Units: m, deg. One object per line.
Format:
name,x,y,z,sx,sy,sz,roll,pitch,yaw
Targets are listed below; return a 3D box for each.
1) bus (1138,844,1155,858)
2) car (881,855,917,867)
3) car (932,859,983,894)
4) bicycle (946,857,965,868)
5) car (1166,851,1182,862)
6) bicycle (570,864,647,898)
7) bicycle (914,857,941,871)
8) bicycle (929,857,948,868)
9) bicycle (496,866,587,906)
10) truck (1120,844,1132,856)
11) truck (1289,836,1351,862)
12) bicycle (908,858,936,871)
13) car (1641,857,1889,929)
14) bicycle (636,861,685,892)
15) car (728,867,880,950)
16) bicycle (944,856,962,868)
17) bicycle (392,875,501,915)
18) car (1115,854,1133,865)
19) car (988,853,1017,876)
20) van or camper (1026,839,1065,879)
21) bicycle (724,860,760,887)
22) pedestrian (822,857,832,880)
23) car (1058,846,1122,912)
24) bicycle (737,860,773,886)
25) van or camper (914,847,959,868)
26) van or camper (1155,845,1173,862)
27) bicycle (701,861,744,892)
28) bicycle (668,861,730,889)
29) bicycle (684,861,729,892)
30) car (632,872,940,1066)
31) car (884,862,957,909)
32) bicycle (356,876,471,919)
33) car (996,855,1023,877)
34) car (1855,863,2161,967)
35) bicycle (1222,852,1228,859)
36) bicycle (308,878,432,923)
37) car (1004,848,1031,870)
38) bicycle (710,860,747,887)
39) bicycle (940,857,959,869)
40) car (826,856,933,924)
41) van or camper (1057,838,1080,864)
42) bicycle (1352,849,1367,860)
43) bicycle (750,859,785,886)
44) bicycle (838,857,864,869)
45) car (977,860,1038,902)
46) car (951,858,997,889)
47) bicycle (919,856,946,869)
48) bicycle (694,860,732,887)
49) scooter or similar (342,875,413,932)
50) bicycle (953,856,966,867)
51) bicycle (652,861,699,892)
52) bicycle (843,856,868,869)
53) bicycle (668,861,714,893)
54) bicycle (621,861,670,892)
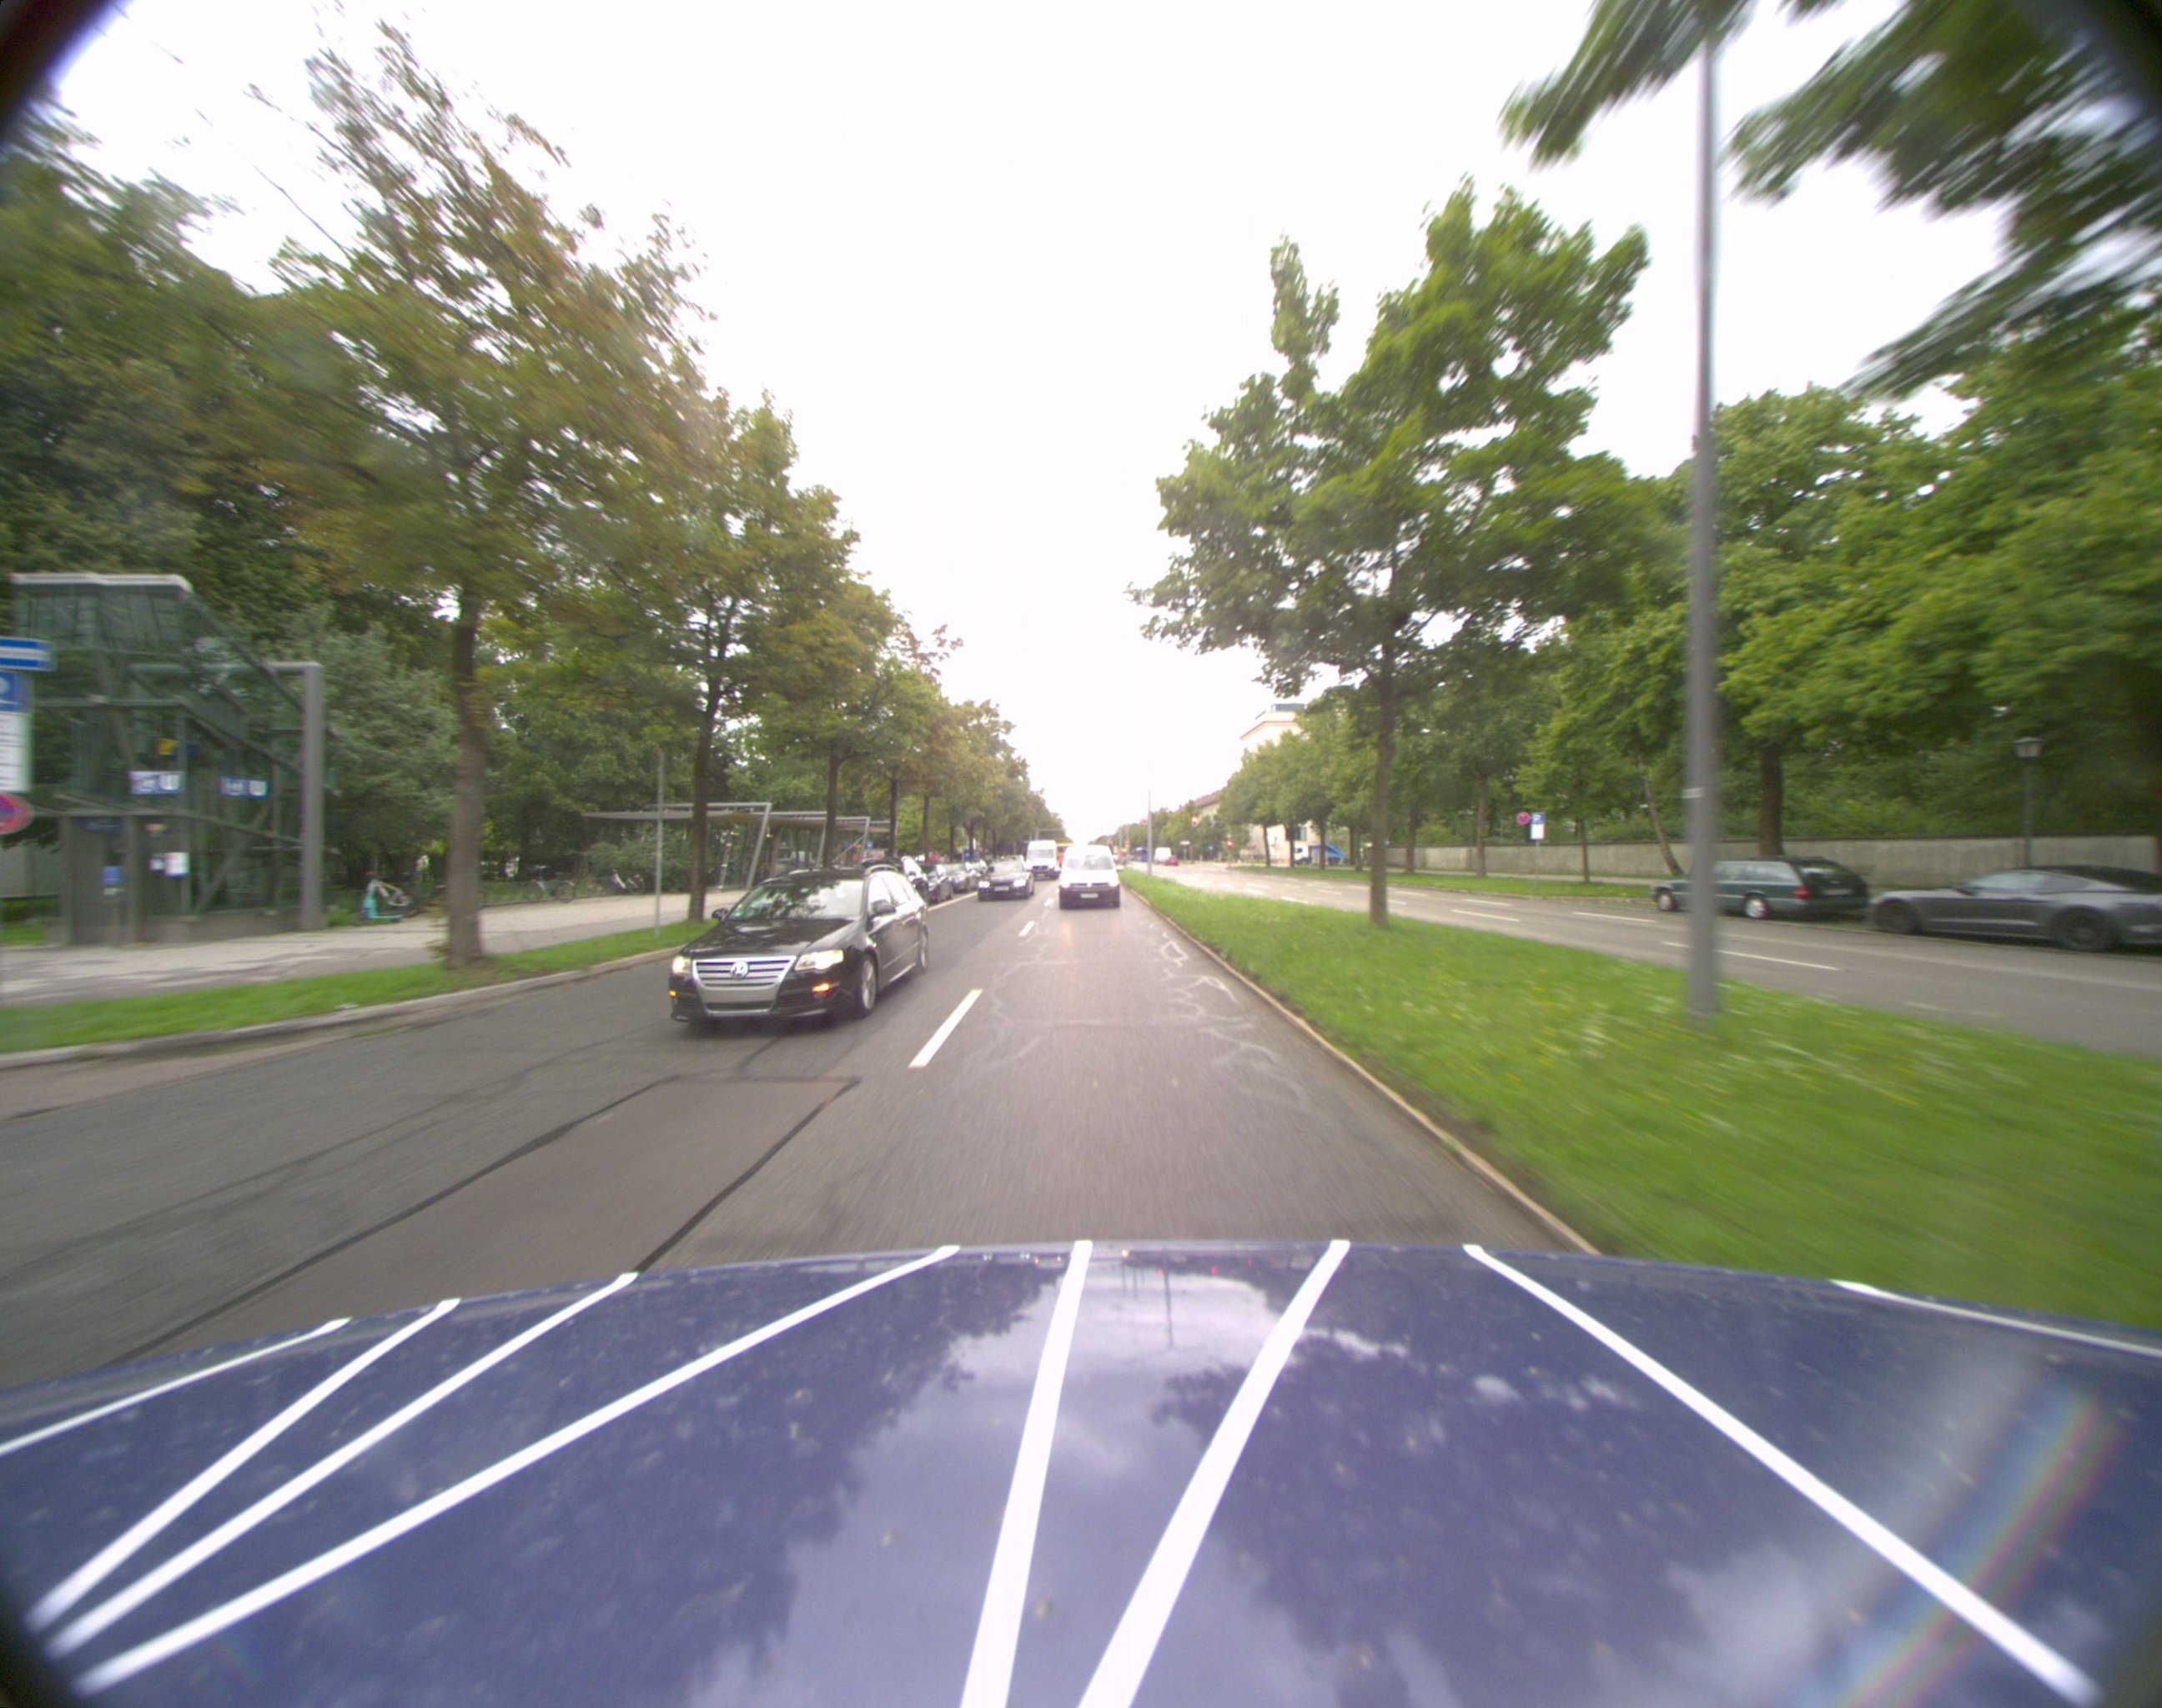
bus,15.525,-0.725,180.583,2.752,3.324,12.047,1,0,-1
car,-24.082,0.914,100.579,4.312,1.489,1.887,-1,1,-3
car,-5.654,1.005,35.209,1.638,1.445,4.078,-1,0,1
bicycle,-13.012,0.885,78.861,1.809,1.136,0.568,1,1,10
car,13.264,0.379,108.326,1.747,1.443,4.657,1,0,1
bicycle,-18.376,1.030,29.577,2.548,1.273,0.647,-1,1,1
bicycle,-13.907,0.922,68.693,2.346,1.151,0.529,1,0,-8
bicycle,-14.943,0.852,79.707,1.810,1.136,0.567,1,1,6
bicycle,-18.008,1.052,25.390,2.548,1.273,0.647,-1,1,1
truck,12.569,-1.023,211.804,2.787,3.337,7.265,-1,0,0
truck,33.040,-0.680,105.258,7.817,3.468,2.772,-1,1,2
bicycle,-14.157,0.934,67.782,2.344,1.151,0.529,1,1,0
car,16.712,0.858,19.001,1.804,1.481,4.915,-2,0,1
bicycle,-18.444,0.973,33.397,0.646,1.273,2.550,-1,0,1
car,-5.809,1.069,16.564,1.657,1.426,4.482,-1,0,0
bicycle,-13.644,0.847,80.912,1.946,1.205,0.567,1,1,-11
bicycle,-18.190,1.175,21.810,2.548,1.082,0.647,-1,1,1
car,5.914,0.750,105.823,1.645,1.478,3.777,-1,0,-10
car,-5.469,0.690,53.449,1.725,1.525,4.398,-1,0,-2
van or camper,-2.349,0.307,51.810,2.183,2.546,7.074,-1,0,1
bicycle,-17.255,0.975,38.778,0.646,1.273,2.550,-1,0,1
pedestrian,-16.872,0.986,50.533,0.580,1.504,0.693,-1,1,-18
car,0.224,0.696,23.499,1.752,1.809,4.670,-1,0,-1
bicycle,-16.599,0.955,38.760,0.646,1.273,2.550,-1,0,1
van or camper,-16.270,0.337,85.841,2.144,2.283,6.207,-1,0,18
van or camper,13.211,-0.109,120.766,2.183,2.631,6.951,1,0,1
bicycle,-15.704,0.952,33.352,0.646,1.273,2.550,-1,0,1
bicycle,-18.090,0.987,36.057,2.551,1.273,0.492,-1,1,-14
bicycle,-16.424,0.961,33.388,0.646,1.273,2.550,-1,0,1
car,-2.924,1.028,8.769,1.752,1.466,4.670,-2,0,-1
car,-5.592,1.042,26.929,1.637,1.430,4.304,-1,0,0
bicycle,-18.200,1.179,20.740,2.548,1.082,0.647,-1,1,1
car,-5.487,0.885,58.685,1.706,1.499,4.502,-3,0,-2
car,16.609,0.925,13.150,1.663,1.388,4.706,-2,0,1
bicycle,24.291,0.193,128.360,0.546,1.174,1.826,-1,0,0
bicycle,-18.241,1.182,19.521,2.548,1.082,0.647,-1,1,1
car,-5.290,0.430,64.125,1.751,1.714,4.906,-2,0,1
bicycle,-17.938,0.960,38.721,0.646,1.273,2.550,-1,0,1
bicycle,-13.505,0.898,77.845,1.810,1.136,0.567,1,1,6
car,-5.558,0.927,21.613,1.791,1.665,4.595,-1,0,0
van or camper,-1.591,-0.408,99.239,2.780,3.219,7.074,-1,0,1
bicycle,32.572,0.043,88.960,0.837,1.179,2.496,-1,0,-1
bicycle,-15.929,0.934,38.669,0.646,1.273,2.550,-1,0,1
bicycle,-22.128,0.855,73.058,2.344,1.151,0.529,1,1,0
car,-2.715,0.953,29.066,1.819,1.421,4.671,0,0,1
car,-5.591,0.992,40.112,1.722,1.500,4.223,-1,0,1
bicycle,-13.914,0.830,71.187,2.344,1.151,0.529,1,1,0
bicycle,-18.707,0.959,38.719,0.646,1.273,2.550,-1,0,1
scooter or similar,-16.337,1.132,17.681,0.421,1.226,1.237,-1,1,3
bicycle,-13.399,0.835,83.763,0.863,1.191,2.000,1,1,5
bicycle,-17.776,0.958,33.368,0.646,1.273,2.550,-1,0,1
bicycle,-22.207,0.852,74.839,2.344,1.151,0.529,1,1,0
bicycle,-17.102,0.985,33.374,0.646,1.273,2.550,-1,0,1
bicycle,-19.092,0.976,33.384,0.606,1.273,2.550,-1,0,1
